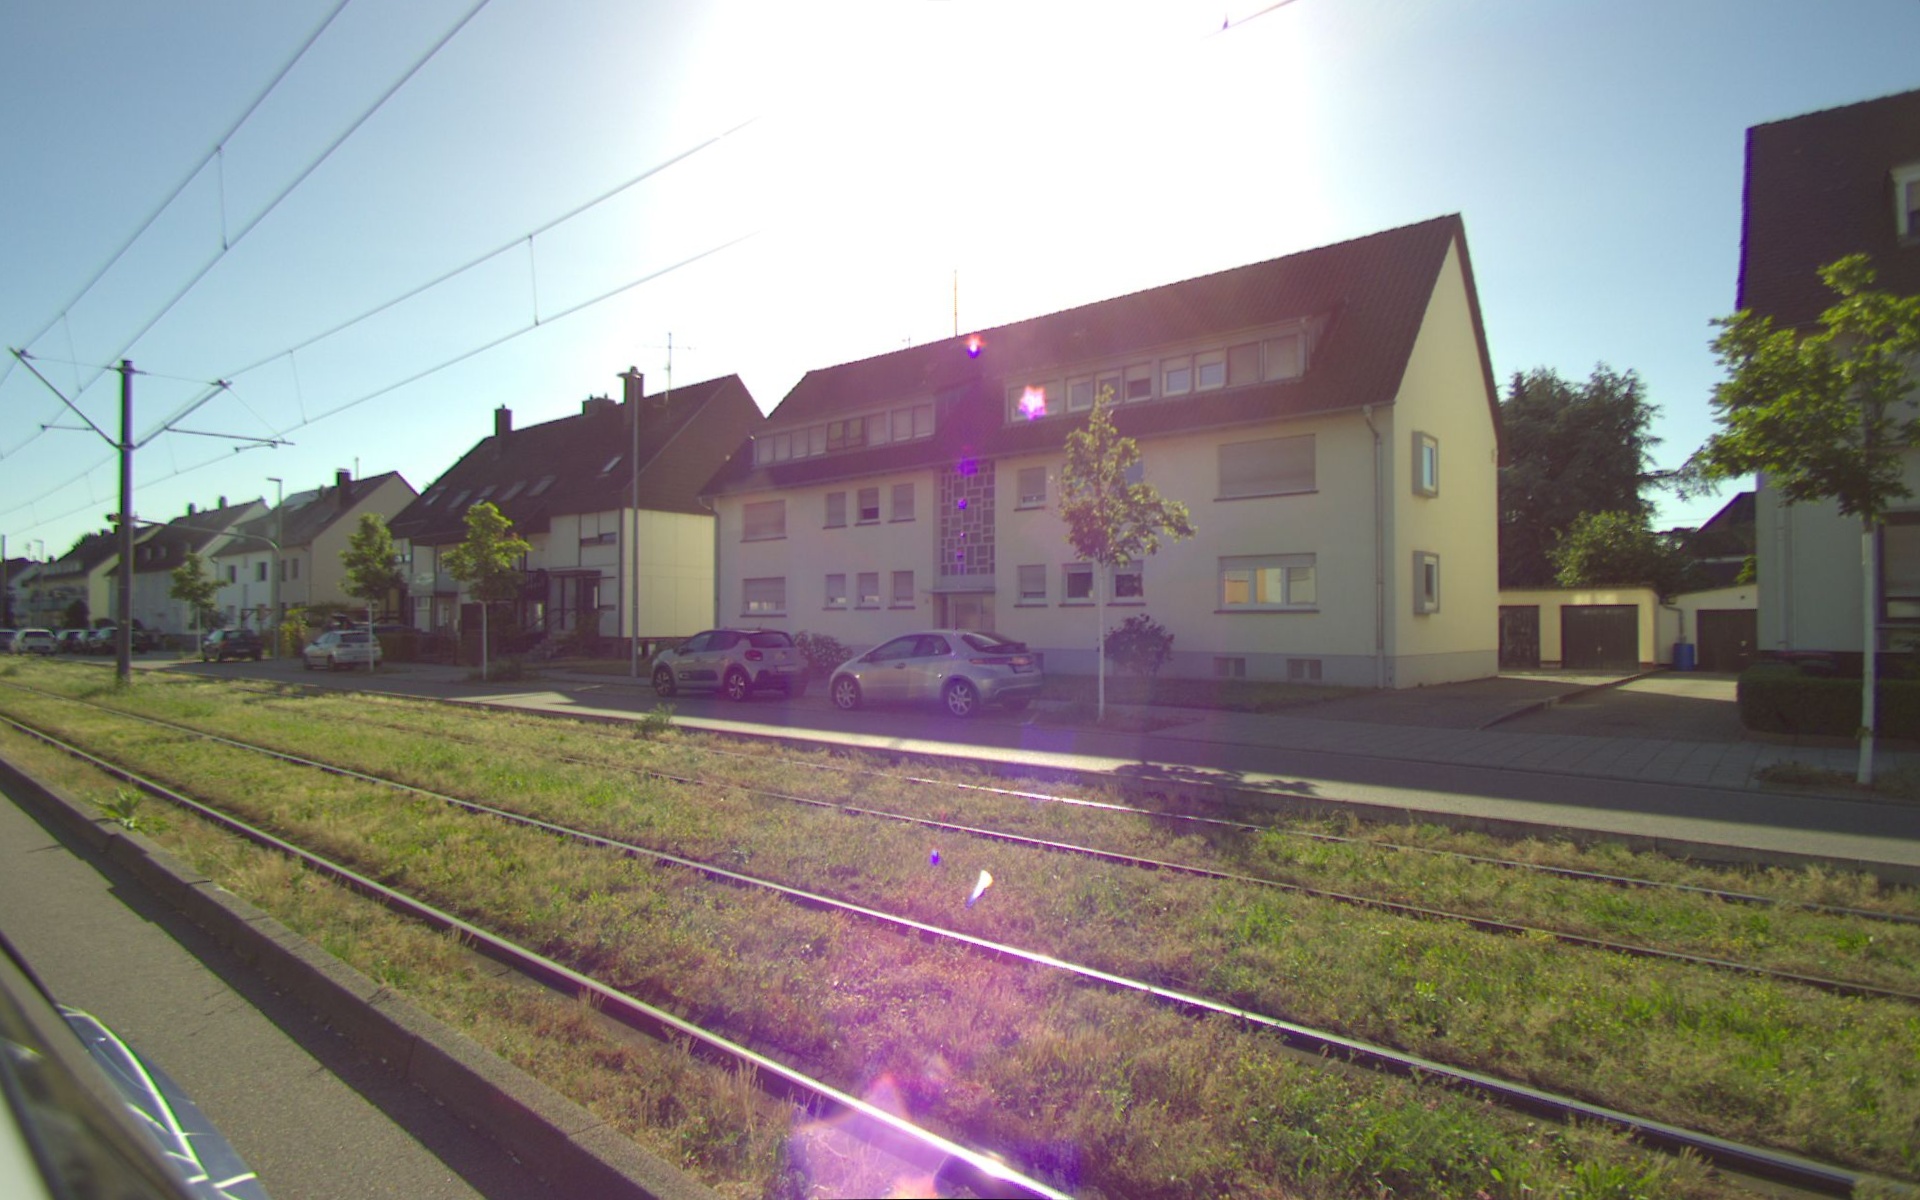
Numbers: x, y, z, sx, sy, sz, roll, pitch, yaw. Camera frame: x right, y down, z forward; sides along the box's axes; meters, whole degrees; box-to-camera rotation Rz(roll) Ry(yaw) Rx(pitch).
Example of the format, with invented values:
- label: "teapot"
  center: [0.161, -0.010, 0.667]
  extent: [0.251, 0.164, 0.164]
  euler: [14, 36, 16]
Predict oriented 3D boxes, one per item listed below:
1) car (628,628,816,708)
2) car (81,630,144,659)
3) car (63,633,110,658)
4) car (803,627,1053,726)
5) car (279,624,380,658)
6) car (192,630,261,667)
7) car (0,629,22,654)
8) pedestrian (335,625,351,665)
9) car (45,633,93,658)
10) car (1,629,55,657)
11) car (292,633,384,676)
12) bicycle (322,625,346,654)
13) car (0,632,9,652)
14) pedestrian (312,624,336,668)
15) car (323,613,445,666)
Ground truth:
- label: "car"
  center: [-5.203, 1.387, 21.834]
  extent: [4.310, 1.484, 1.672]
  euler: [-1, 0, 39]
- label: "car"
  center: [-49.126, 2.549, 58.625]
  extent: [4.853, 1.572, 1.902]
  euler: [-1, 0, 39]
- label: "car"
  center: [-53.356, 2.776, 61.805]
  extent: [3.994, 1.479, 1.451]
  euler: [-2, -3, 39]
- label: "car"
  center: [-0.661, 1.249, 17.925]
  extent: [4.438, 1.486, 1.672]
  euler: [-1, 0, 39]
- label: "car"
  center: [-34.468, 2.230, 55.409]
  extent: [1.968, 1.797, 4.348]
  euler: [-2, -2, 39]
- label: "car"
  center: [-32.594, 2.131, 44.922]
  extent: [4.083, 1.523, 1.602]
  euler: [-2, -1, 41]
- label: "car"
  center: [-62.459, 2.688, 65.745]
  extent: [4.079, 1.486, 1.672]
  euler: [-1, 0, 39]
- label: "pedestrian"
  center: [-26.746, 1.947, 43.893]
  extent: [0.544, 1.701, 0.625]
  euler: [-1, 0, -35]
- label: "car"
  center: [-57.264, 2.913, 65.051]
  extent: [4.396, 1.466, 1.637]
  euler: [-1, 0, 39]
- label: "car"
  center: [-51.803, 2.370, 56.212]
  extent: [3.676, 1.487, 1.672]
  euler: [-1, -3, 39]
- label: "car"
  center: [-22.711, 1.952, 36.891]
  extent: [4.099, 1.447, 1.641]
  euler: [-2, -2, 39]
- label: "bicycle"
  center: [-26.443, 1.652, 42.730]
  extent: [0.471, 1.172, 1.872]
  euler: [-1, 0, -44]
- label: "car"
  center: [-78.504, 3.425, 81.887]
  extent: [4.089, 1.542, 1.809]
  euler: [-1, 0, 39]
- label: "pedestrian"
  center: [-26.738, 1.928, 42.574]
  extent: [0.676, 1.829, 0.611]
  euler: [-1, 0, 32]
- label: "car"
  center: [-26.215, 1.753, 46.185]
  extent: [1.786, 2.096, 4.415]
  euler: [-1, 2, 41]
